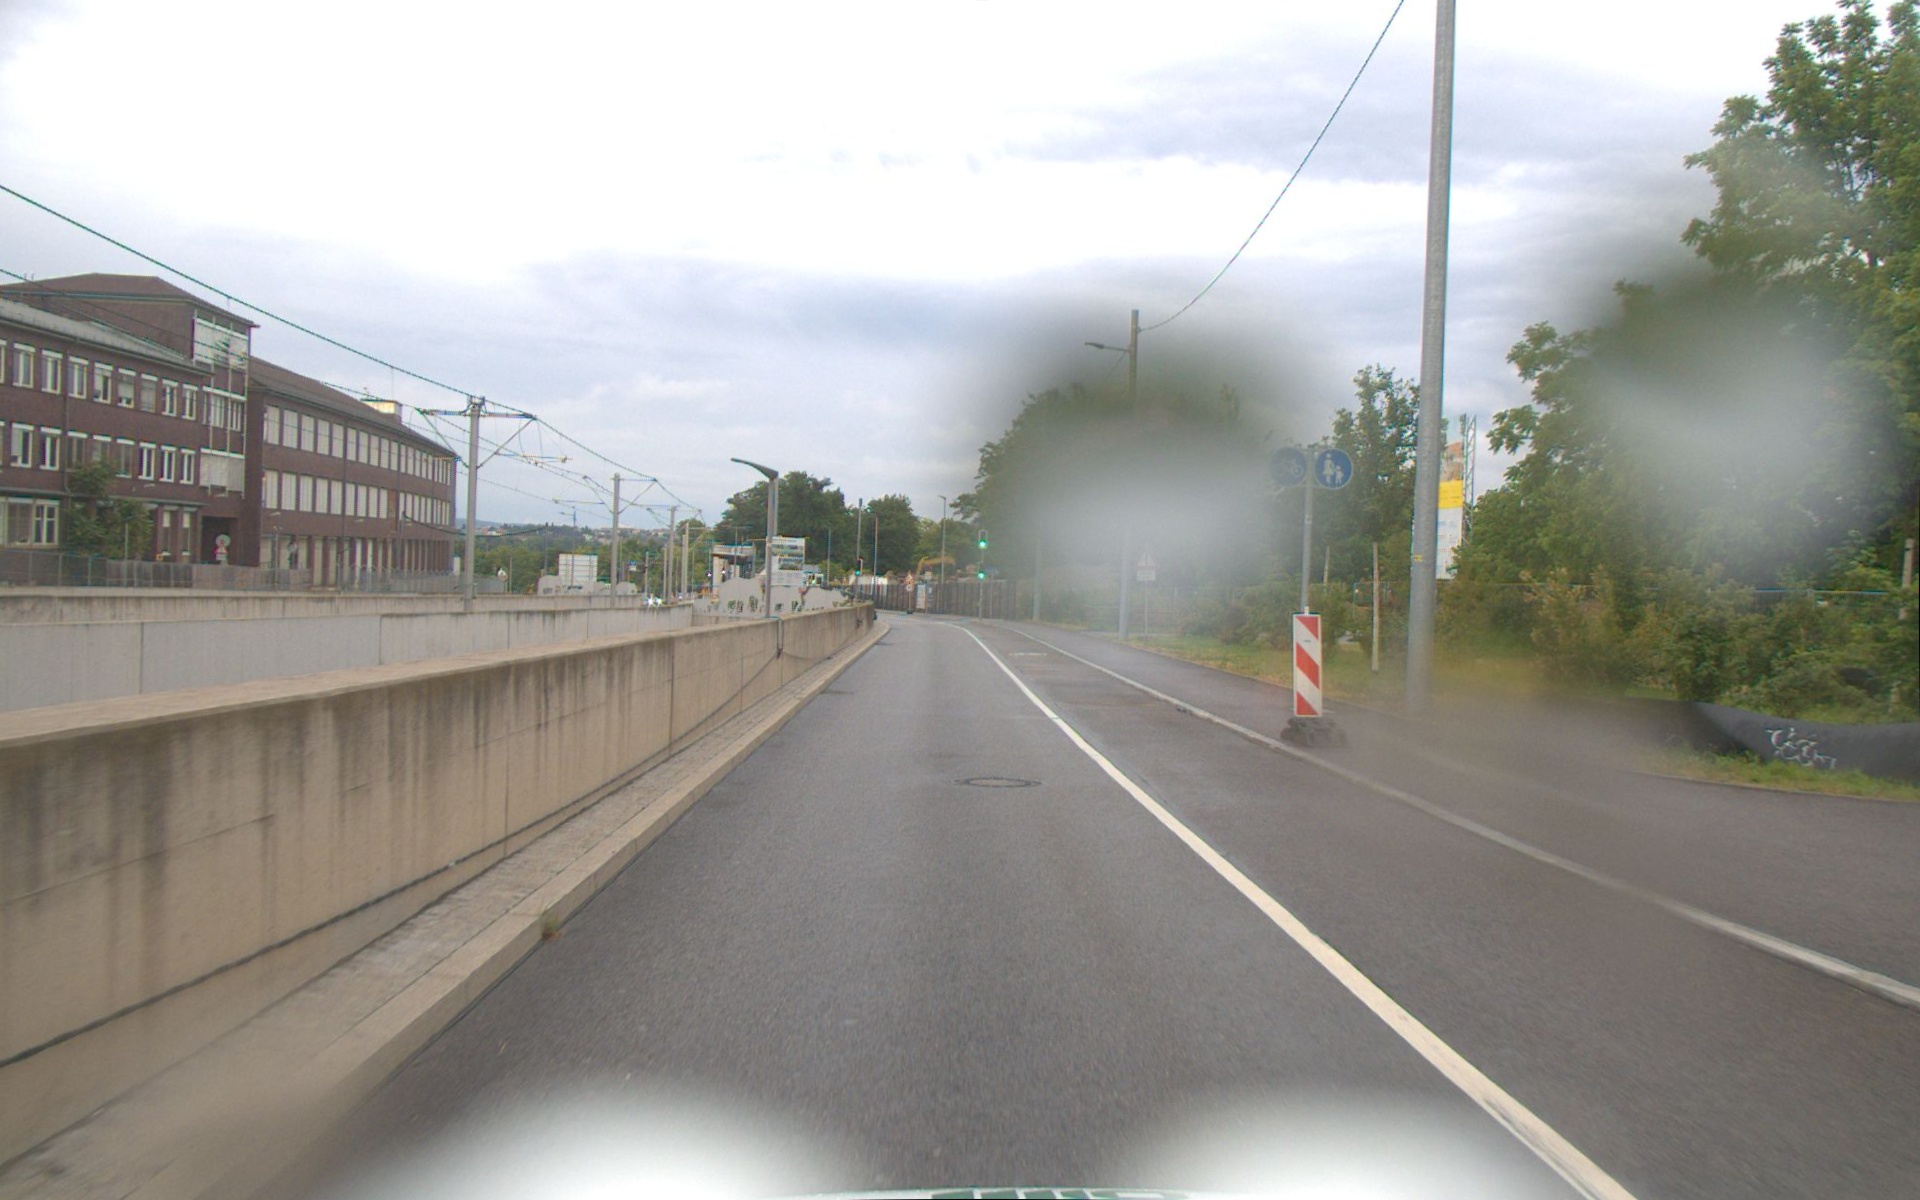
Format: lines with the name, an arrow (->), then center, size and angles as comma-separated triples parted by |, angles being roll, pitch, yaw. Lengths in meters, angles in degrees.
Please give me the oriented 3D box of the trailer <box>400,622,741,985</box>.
trailer -> -5.850, 2.688, 27.708 | 2.706, 4.327, 13.182 | 0, 0, -1
